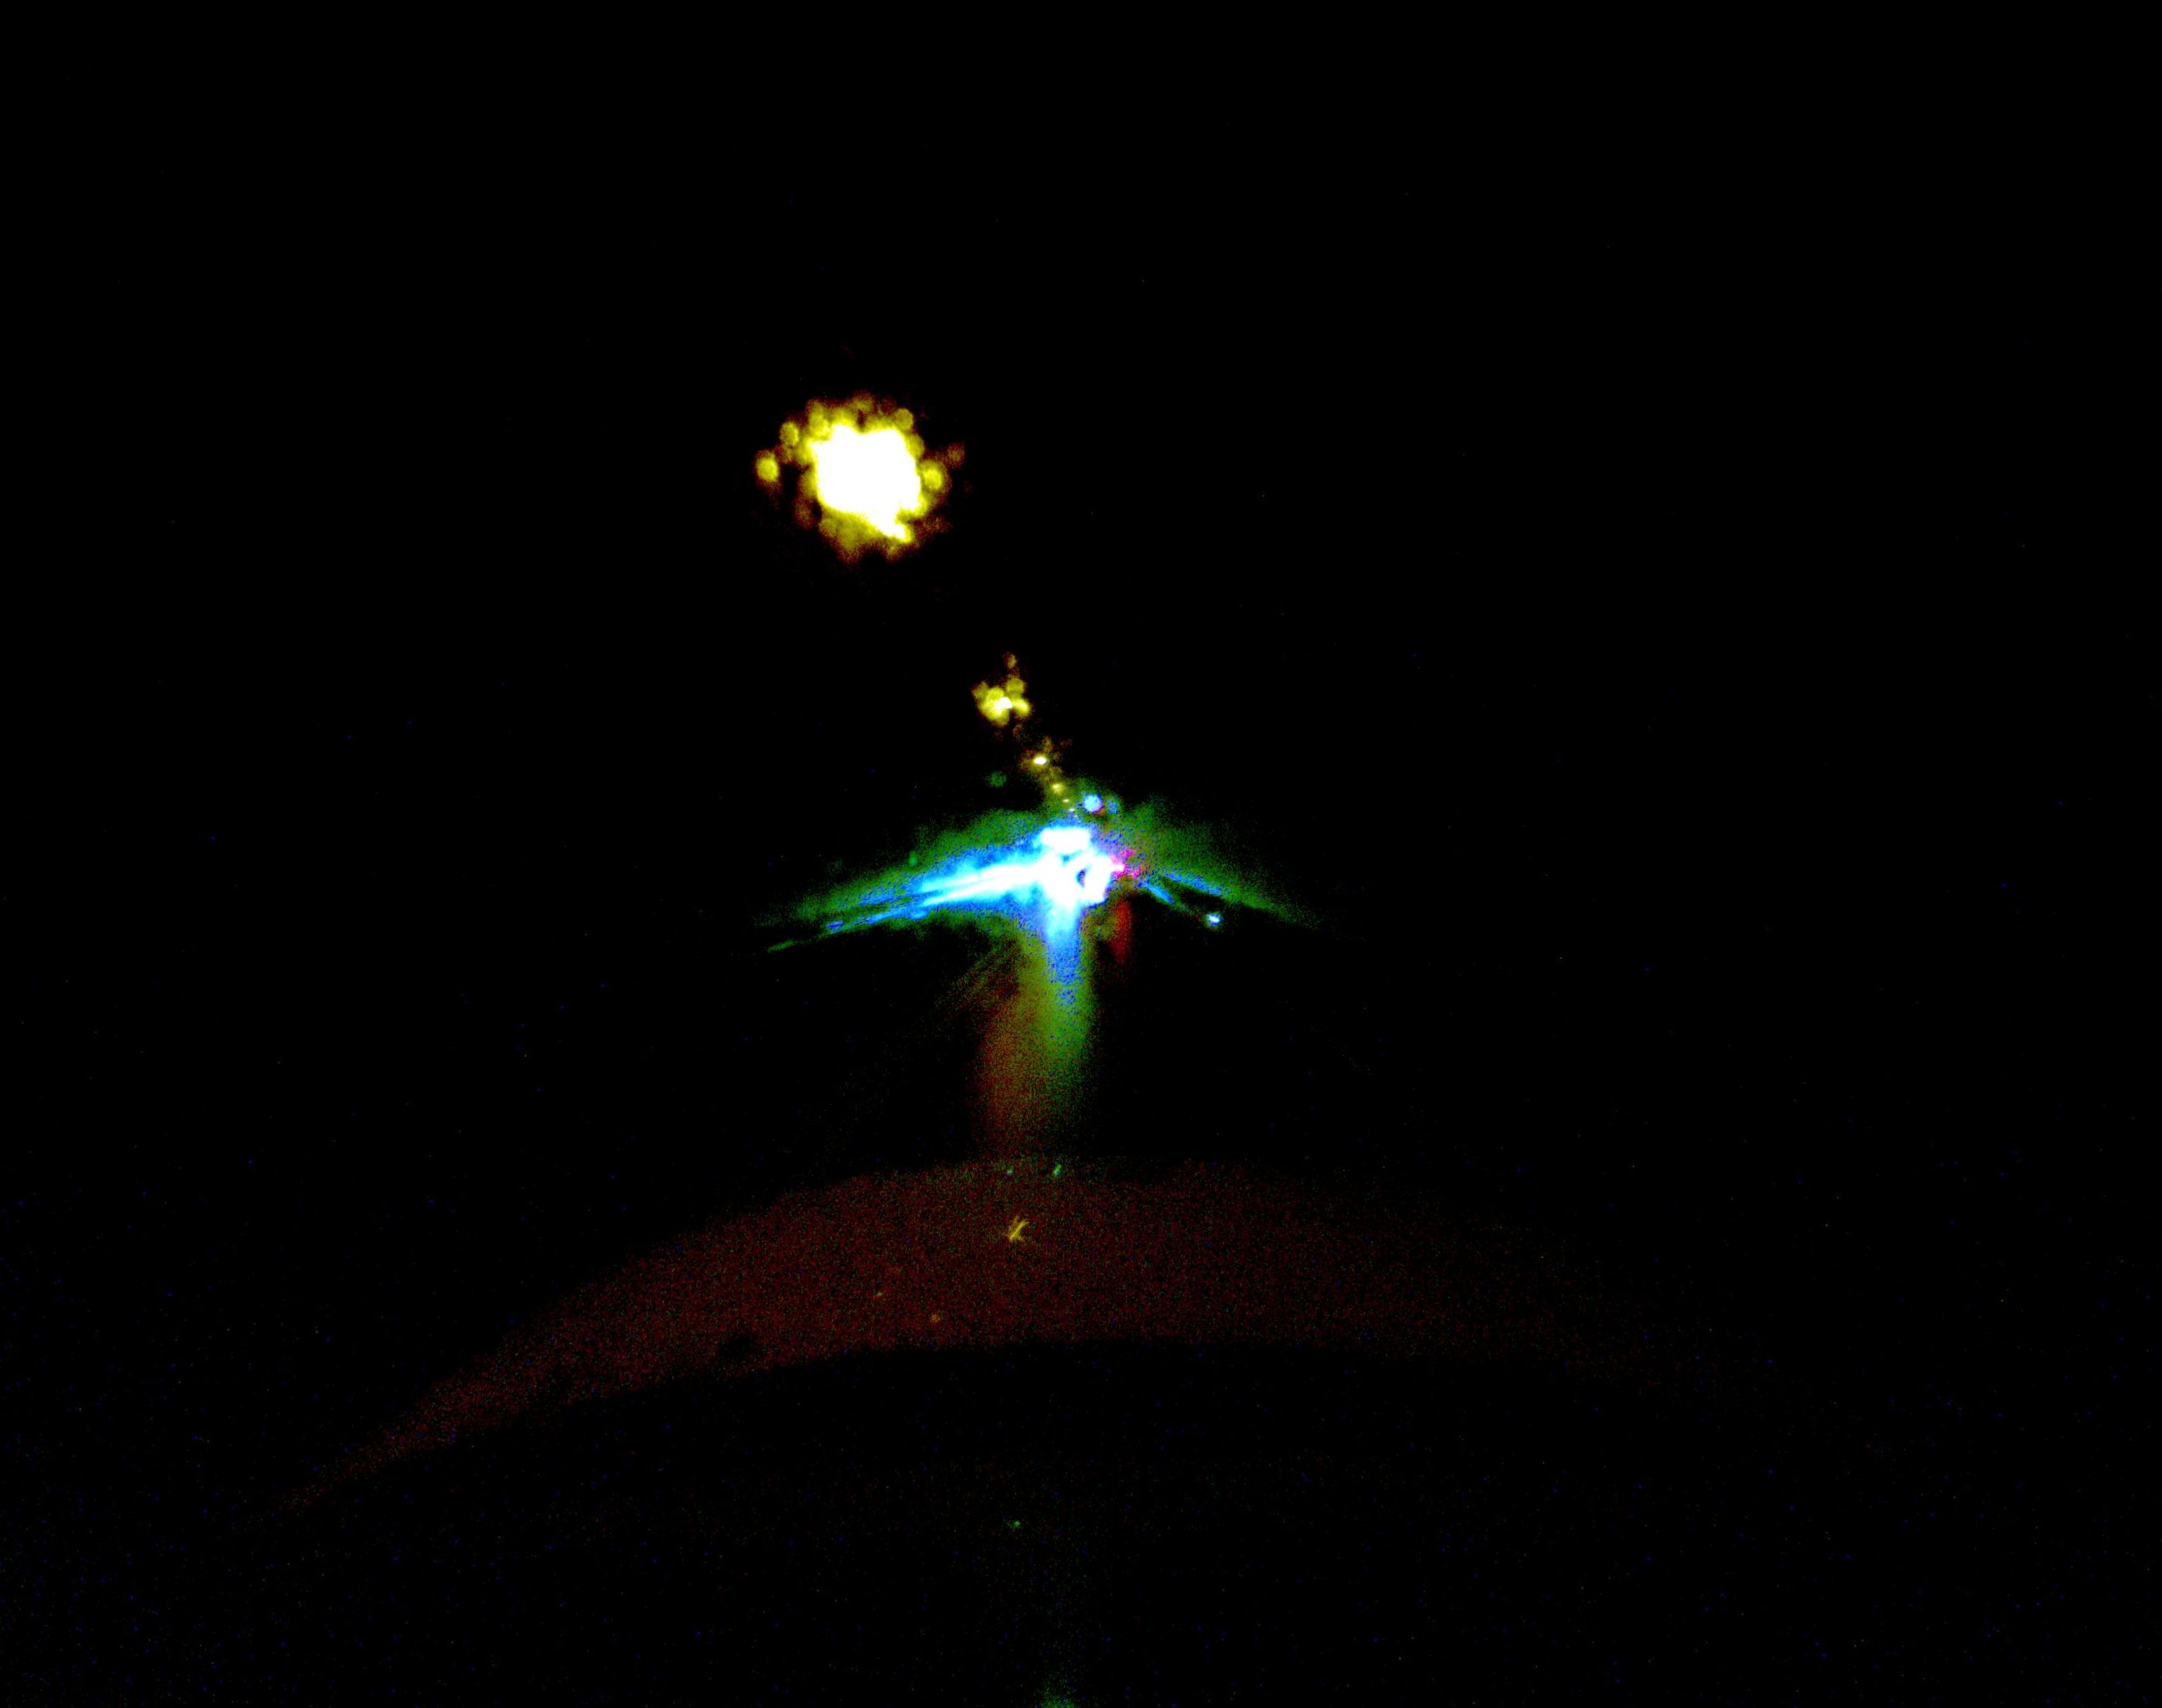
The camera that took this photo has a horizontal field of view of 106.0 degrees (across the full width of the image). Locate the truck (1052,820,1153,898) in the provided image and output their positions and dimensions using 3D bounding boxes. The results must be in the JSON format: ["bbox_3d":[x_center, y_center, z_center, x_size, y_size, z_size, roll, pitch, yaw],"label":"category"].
[{"bbox_3d":[0.867,0.193,32.746,3.522,2.693,8.958,0,0,1],"label":"truck"}]

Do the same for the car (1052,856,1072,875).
[{"bbox_3d":[-1.701,1.040,73.065,1.563,1.632,3.731,0,0,1],"label":"car"}]
